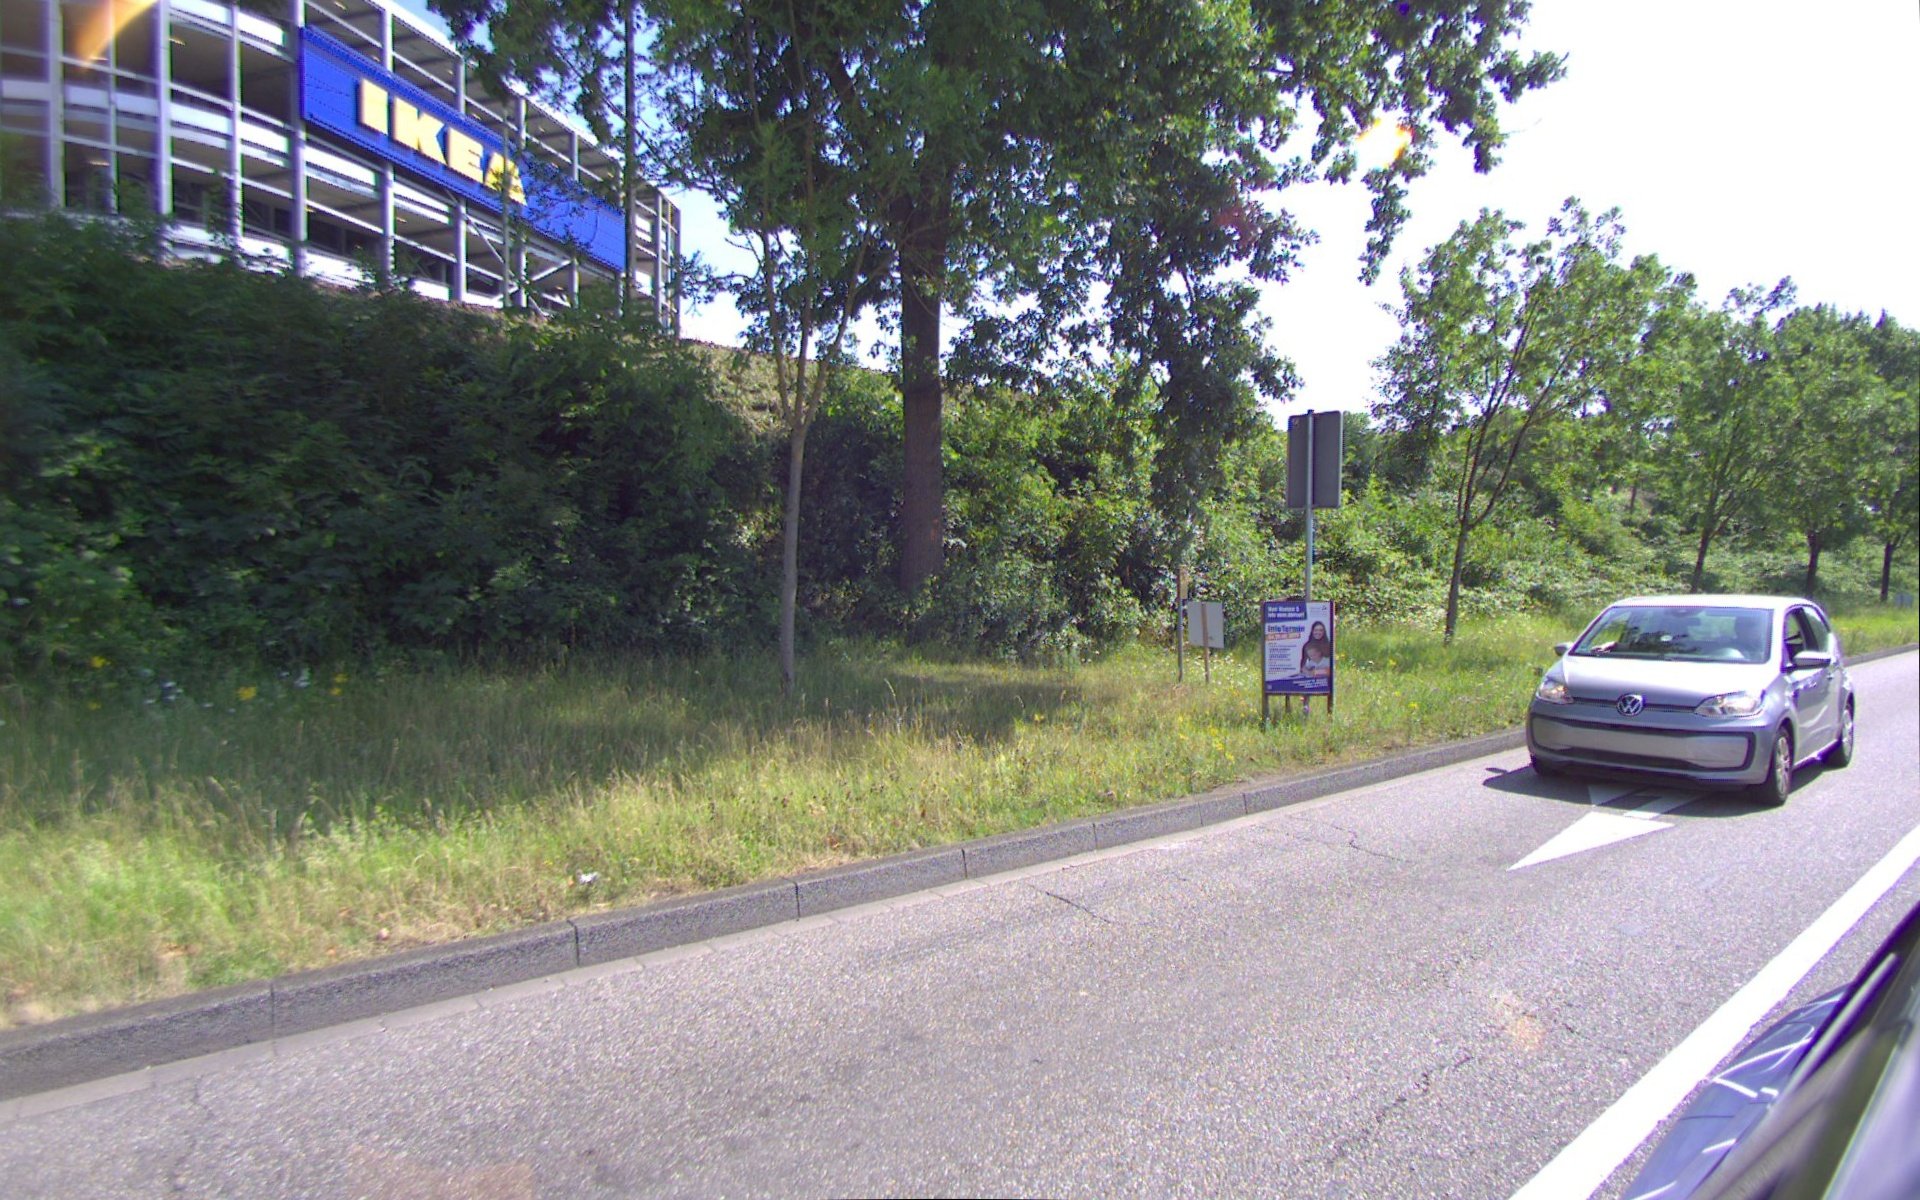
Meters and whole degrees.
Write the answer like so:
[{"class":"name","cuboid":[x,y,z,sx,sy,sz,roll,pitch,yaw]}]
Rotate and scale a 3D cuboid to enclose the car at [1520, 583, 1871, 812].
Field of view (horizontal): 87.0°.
[{"class":"car","cuboid":[6.209,0.619,8.395,3.617,1.455,1.702,-1,0,-43]}]
